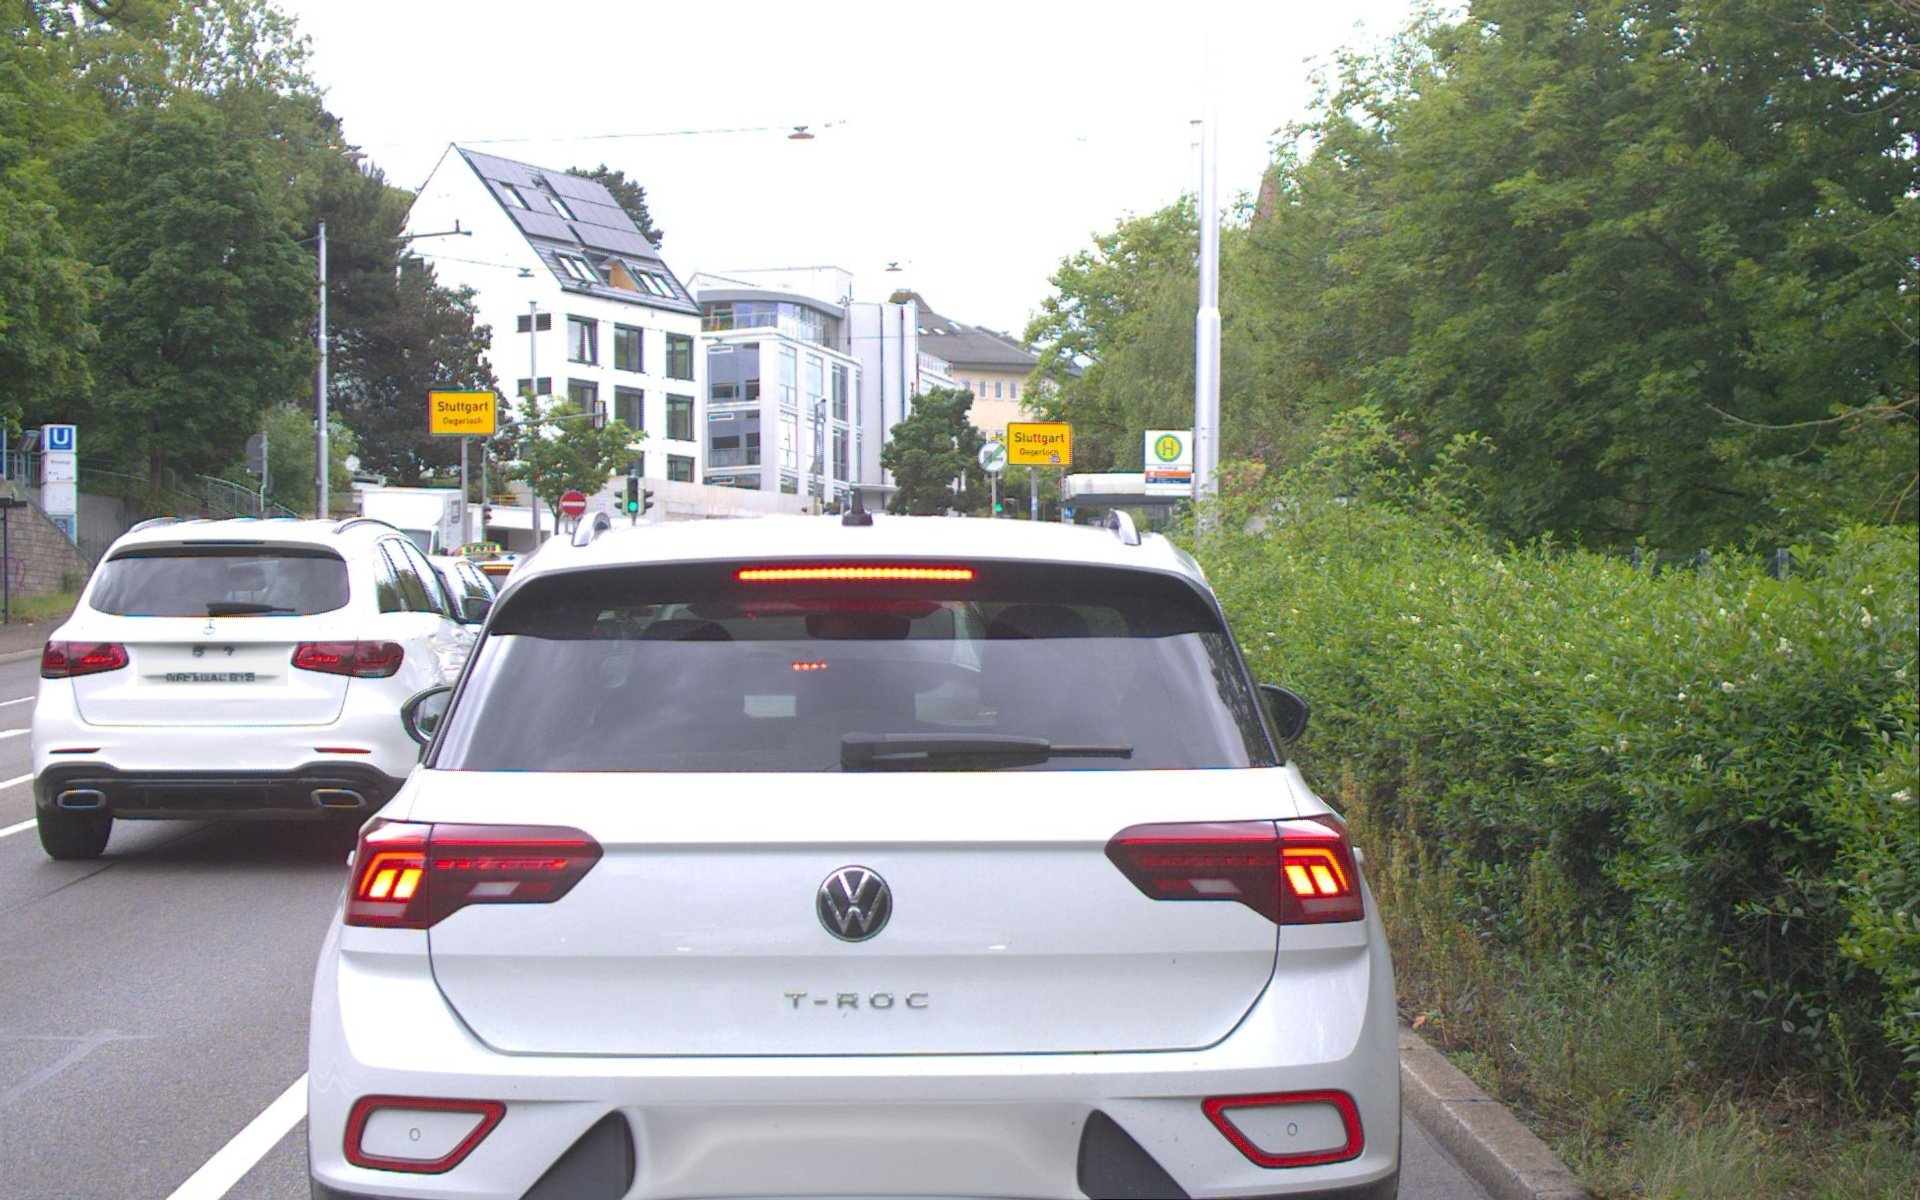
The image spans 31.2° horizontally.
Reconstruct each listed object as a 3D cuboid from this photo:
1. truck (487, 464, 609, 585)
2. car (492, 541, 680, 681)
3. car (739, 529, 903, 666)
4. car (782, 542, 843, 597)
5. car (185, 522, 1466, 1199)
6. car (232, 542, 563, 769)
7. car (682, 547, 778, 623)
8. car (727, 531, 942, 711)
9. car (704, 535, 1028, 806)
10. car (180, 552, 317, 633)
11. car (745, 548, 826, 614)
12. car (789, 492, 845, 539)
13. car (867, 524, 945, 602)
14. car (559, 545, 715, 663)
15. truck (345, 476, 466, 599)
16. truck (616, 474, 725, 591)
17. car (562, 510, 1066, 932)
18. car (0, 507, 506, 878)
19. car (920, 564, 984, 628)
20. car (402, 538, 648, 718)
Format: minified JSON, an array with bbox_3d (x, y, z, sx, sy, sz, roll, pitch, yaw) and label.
[{"bbox_3d":[-9.643,-1.765,80.792,2.362,2.697,4.478,-2,1,-1],"label":"truck"},{"bbox_3d":[-4.308,0.090,40.076,1.829,1.520,4.000,-1,1,-1],"label":"car"},{"bbox_3d":[-1.619,-0.060,40.867,1.829,1.520,4.000,-1,1,-1],"label":"car"},{"bbox_3d":[-4.654,-0.981,109.111,1.815,1.651,3.929,-2,1,-1],"label":"car"},{"bbox_3d":[-0.237,0.621,6.930,1.829,1.520,4.000,0,1,-1],"label":"car"},{"bbox_3d":[-4.012,0.342,25.104,1.829,1.492,4.000,-1,1,-1],"label":"car"},{"bbox_3d":[-4.786,-0.334,72.021,1.829,1.520,4.000,-1,1,-1],"label":"car"},{"bbox_3d":[-1.133,0.151,31.724,1.829,1.520,4.000,-1,1,-1],"label":"car"},{"bbox_3d":[-0.590,0.372,21.713,1.829,1.520,4.000,-1,1,-1],"label":"car"},{"bbox_3d":[-13.107,-0.160,63.523,1.679,1.390,4.361,-2,1,-1],"label":"car"},{"bbox_3d":[-4.194,-0.484,83.193,1.829,1.520,4.000,-1,1,-1],"label":"car"},{"bbox_3d":[-4.841,-2.866,116.819,1.829,1.520,4.000,-1,1,-1],"label":"car"},{"bbox_3d":[-1.412,-0.991,91.067,1.993,2.007,4.000,-1,1,-1],"label":"car"},{"bbox_3d":[-4.391,0.017,47.216,1.829,1.520,4.000,-1,1,-1],"label":"car"},{"bbox_3d":[-14.460,-1.618,90.034,2.293,3.040,6.980,-1,1,-3],"label":"truck"},{"bbox_3d":[-7.144,-1.668,85.295,2.362,2.772,4.478,-2,1,-1],"label":"truck"},{"bbox_3d":[-0.587,0.411,14.657,1.829,1.520,4.000,-1,1,-1],"label":"car"},{"bbox_3d":[-3.490,0.385,17.507,1.918,1.664,4.000,0,1,-1],"label":"car"},{"bbox_3d":[-0.248,-0.104,112.050,1.993,2.007,4.000,-1,0,0],"label":"car"},{"bbox_3d":[-3.934,0.206,31.651,1.829,1.520,4.000,-1,1,-1],"label":"car"}]
